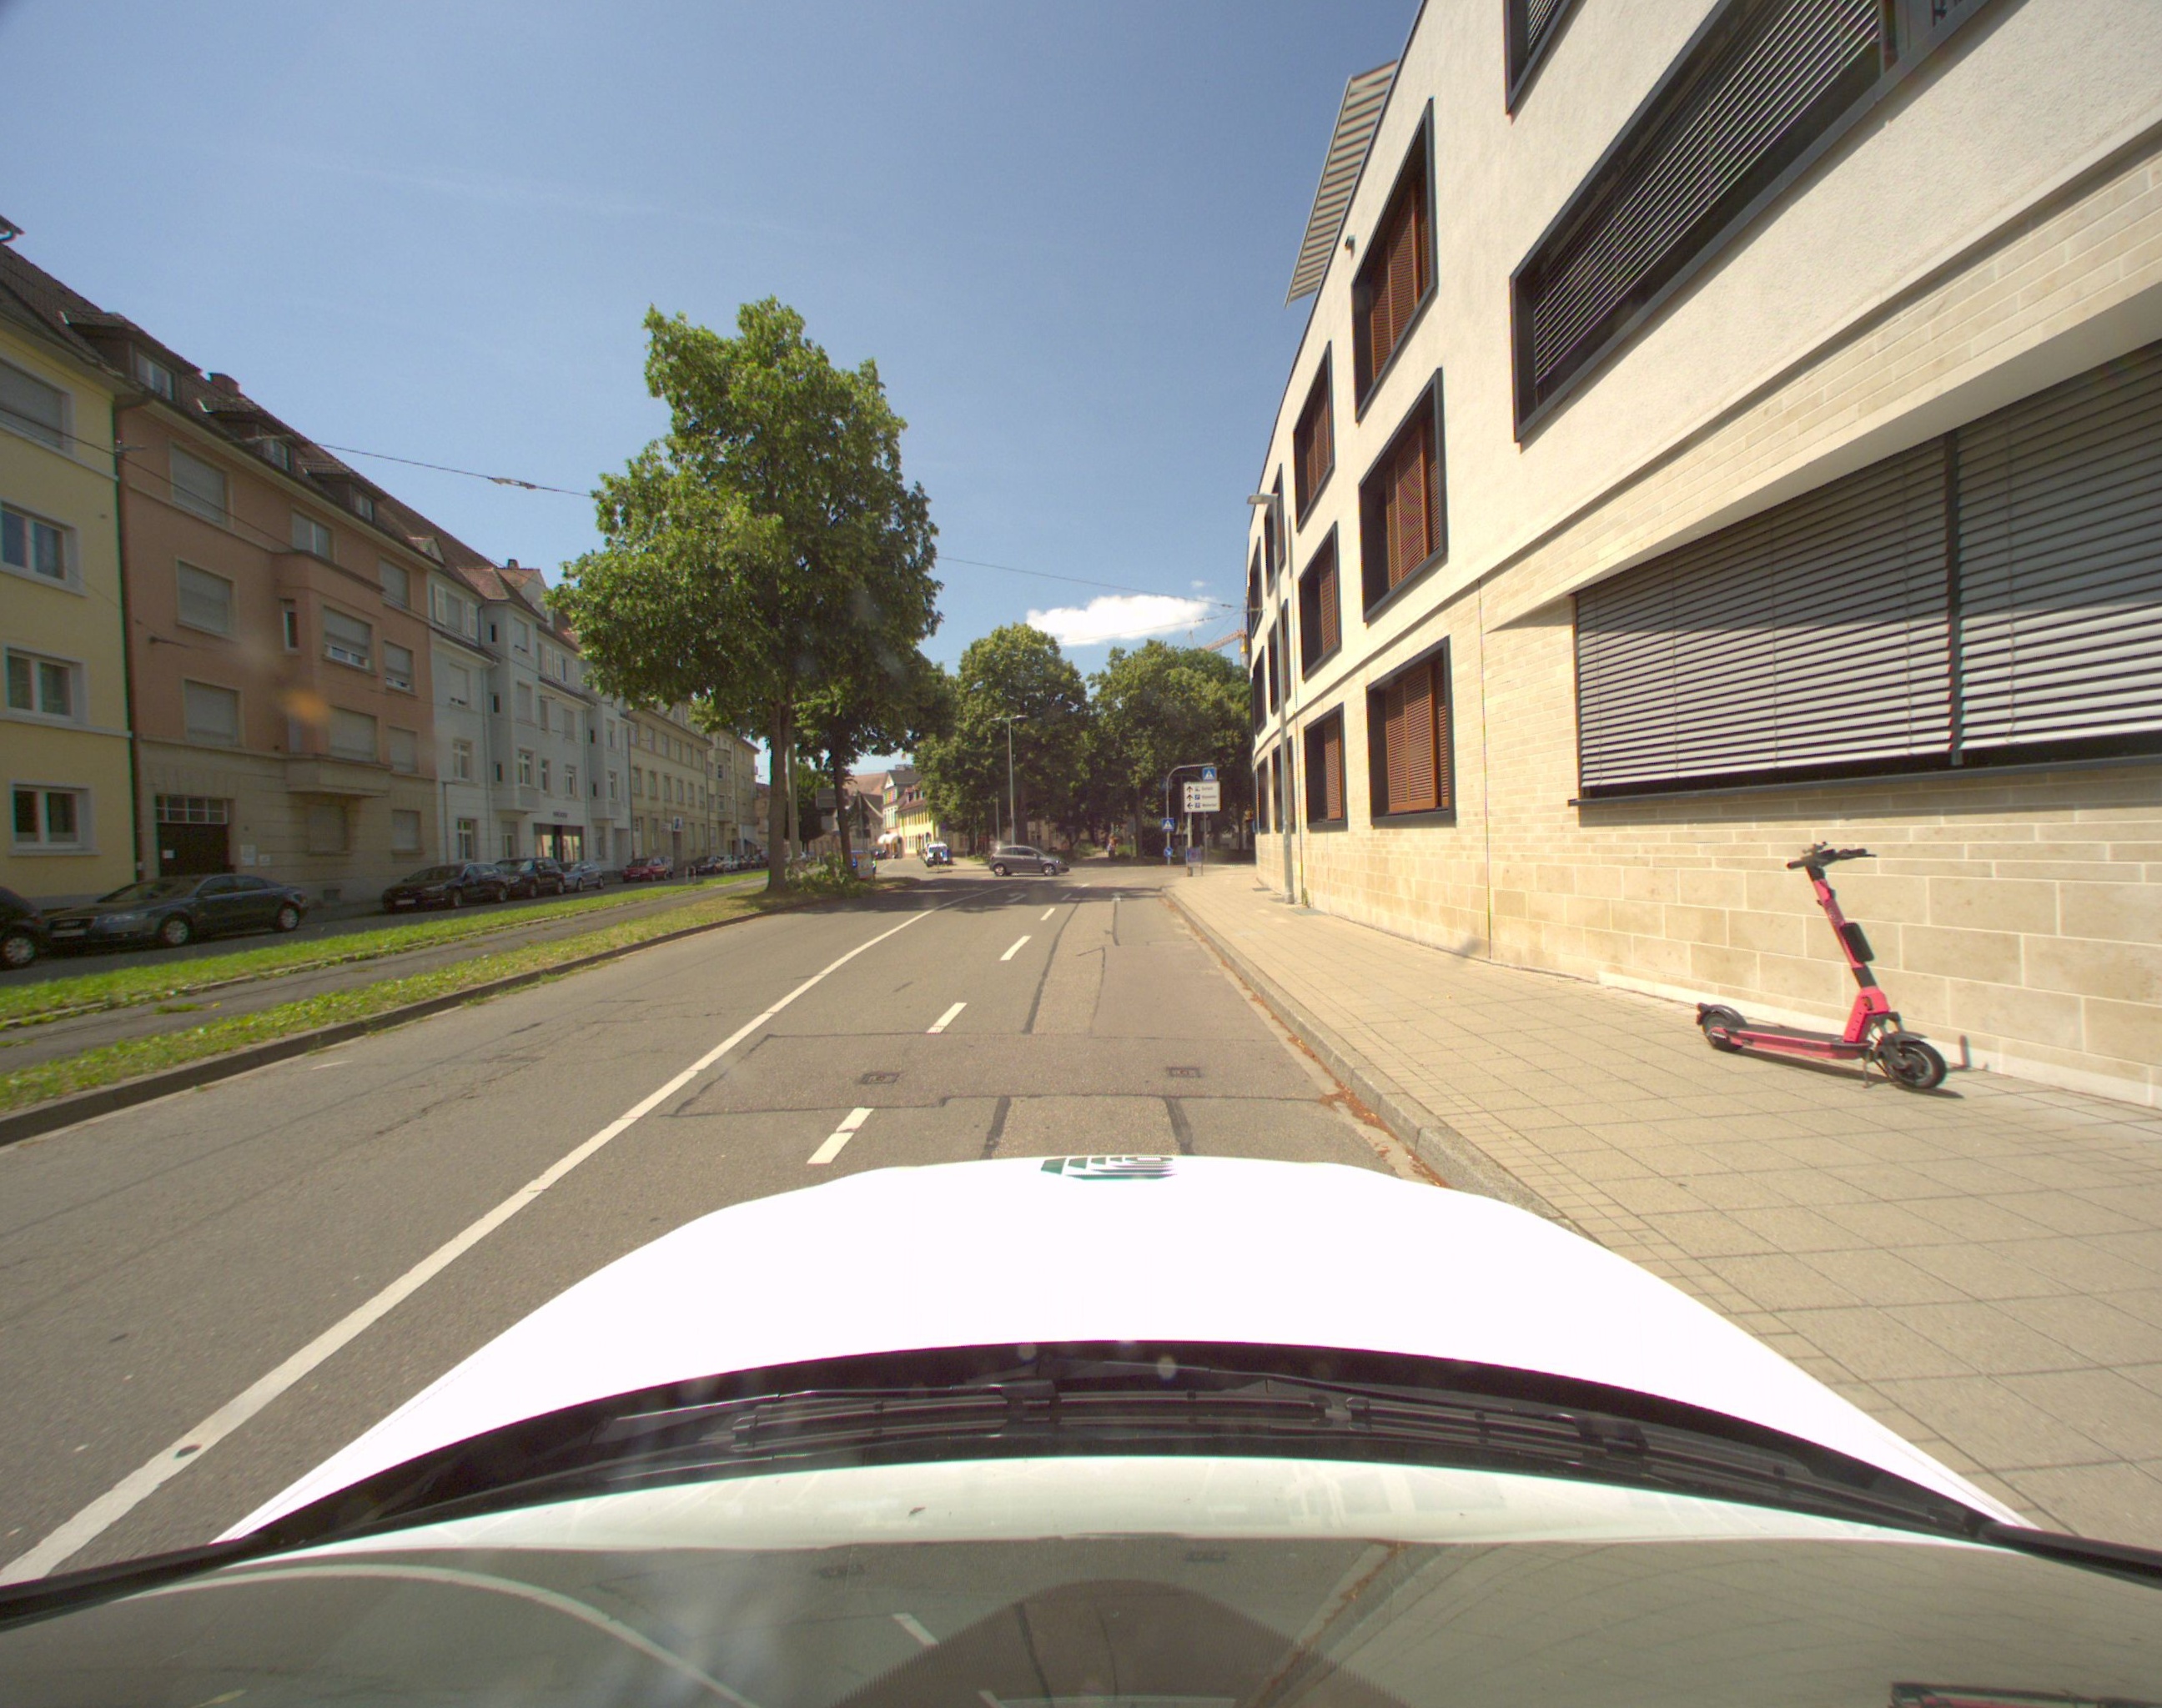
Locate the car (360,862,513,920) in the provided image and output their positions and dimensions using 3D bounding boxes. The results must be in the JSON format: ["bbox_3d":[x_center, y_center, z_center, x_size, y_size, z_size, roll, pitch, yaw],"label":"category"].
[{"bbox_3d":[-21.156,1.140,27.053,1.929,1.490,4.844,-4,1,-12],"label":"car"}]

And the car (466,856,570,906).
[{"bbox_3d":[-22.292,1.005,32.454,1.838,1.685,4.126,-4,1,-12],"label":"car"}]

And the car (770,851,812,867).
[{"bbox_3d":[-32.721,0.503,92.049,4.212,1.504,1.993,-4,1,-16],"label":"car"}]

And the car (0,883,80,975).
[{"bbox_3d":[-17.967,1.283,11.969,1.832,1.400,4.126,-3,1,-12],"label":"car"}]

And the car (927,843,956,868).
[{"bbox_3d":[-10.928,0.087,63.577,1.995,1.826,4.404,-1,1,-12],"label":"car"}]

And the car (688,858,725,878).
[{"bbox_3d":[-28.491,1.034,62.080,1.688,1.360,3.842,-4,1,-12],"label":"car"}]

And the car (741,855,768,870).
[{"bbox_3d":[-32.478,0.820,81.049,1.643,1.277,4.247,-4,1,-12],"label":"car"}]

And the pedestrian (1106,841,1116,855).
[{"bbox_3d":[2.709,-0.535,73.600,0.902,1.251,1.149,-1,2,3],"label":"pedestrian"}]

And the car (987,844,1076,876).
[{"bbox_3d":[-2.536,0.303,42.223,4.202,1.533,1.916,-1,0,11],"label":"car"}]

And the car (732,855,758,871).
[{"bbox_3d":[-31.606,0.847,76.719,1.603,1.277,3.572,-4,1,-12],"label":"car"}]

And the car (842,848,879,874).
[{"bbox_3d":[-13.650,0.405,50.345,1.816,1.492,3.973,-2,1,-20],"label":"car"}]

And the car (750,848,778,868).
[{"bbox_3d":[-33.424,0.403,85.980,1.855,1.911,4.752,-4,1,-12],"label":"car"}]

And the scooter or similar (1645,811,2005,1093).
[{"bbox_3d":[3.924,0.447,4.451,0.581,1.260,1.364,-4,1,-6],"label":"scooter or similar"}]

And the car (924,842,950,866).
[{"bbox_3d":[-12.670,-0.059,71.599,2.050,2.002,5.230,-1,1,-10],"label":"car"}]

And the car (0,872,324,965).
[{"bbox_3d":[-19.043,1.224,17.313,1.928,1.397,4.845,-4,1,-11],"label":"car"}]

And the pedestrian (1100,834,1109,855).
[{"bbox_3d":[2.159,-0.891,74.357,0.744,1.910,0.685,-1,2,3],"label":"pedestrian"}]

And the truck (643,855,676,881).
[{"bbox_3d":[-26.563,0.876,51.365,1.127,1.494,2.583,-4,1,-13],"label":"truck"}]

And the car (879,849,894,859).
[{"bbox_3d":[-30.226,0.038,126.437,1.866,1.486,3.975,-2,1,-18],"label":"car"}]

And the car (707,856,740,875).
[{"bbox_3d":[-29.601,0.939,67.519,1.688,1.390,3.842,-4,1,-12],"label":"car"}]

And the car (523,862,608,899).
[{"bbox_3d":[-23.283,1.165,36.995,1.809,1.356,4.233,-4,1,-12],"label":"car"}]

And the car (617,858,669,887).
[{"bbox_3d":[-25.419,1.048,47.379,1.572,1.451,3.611,-4,1,-12],"label":"car"}]
